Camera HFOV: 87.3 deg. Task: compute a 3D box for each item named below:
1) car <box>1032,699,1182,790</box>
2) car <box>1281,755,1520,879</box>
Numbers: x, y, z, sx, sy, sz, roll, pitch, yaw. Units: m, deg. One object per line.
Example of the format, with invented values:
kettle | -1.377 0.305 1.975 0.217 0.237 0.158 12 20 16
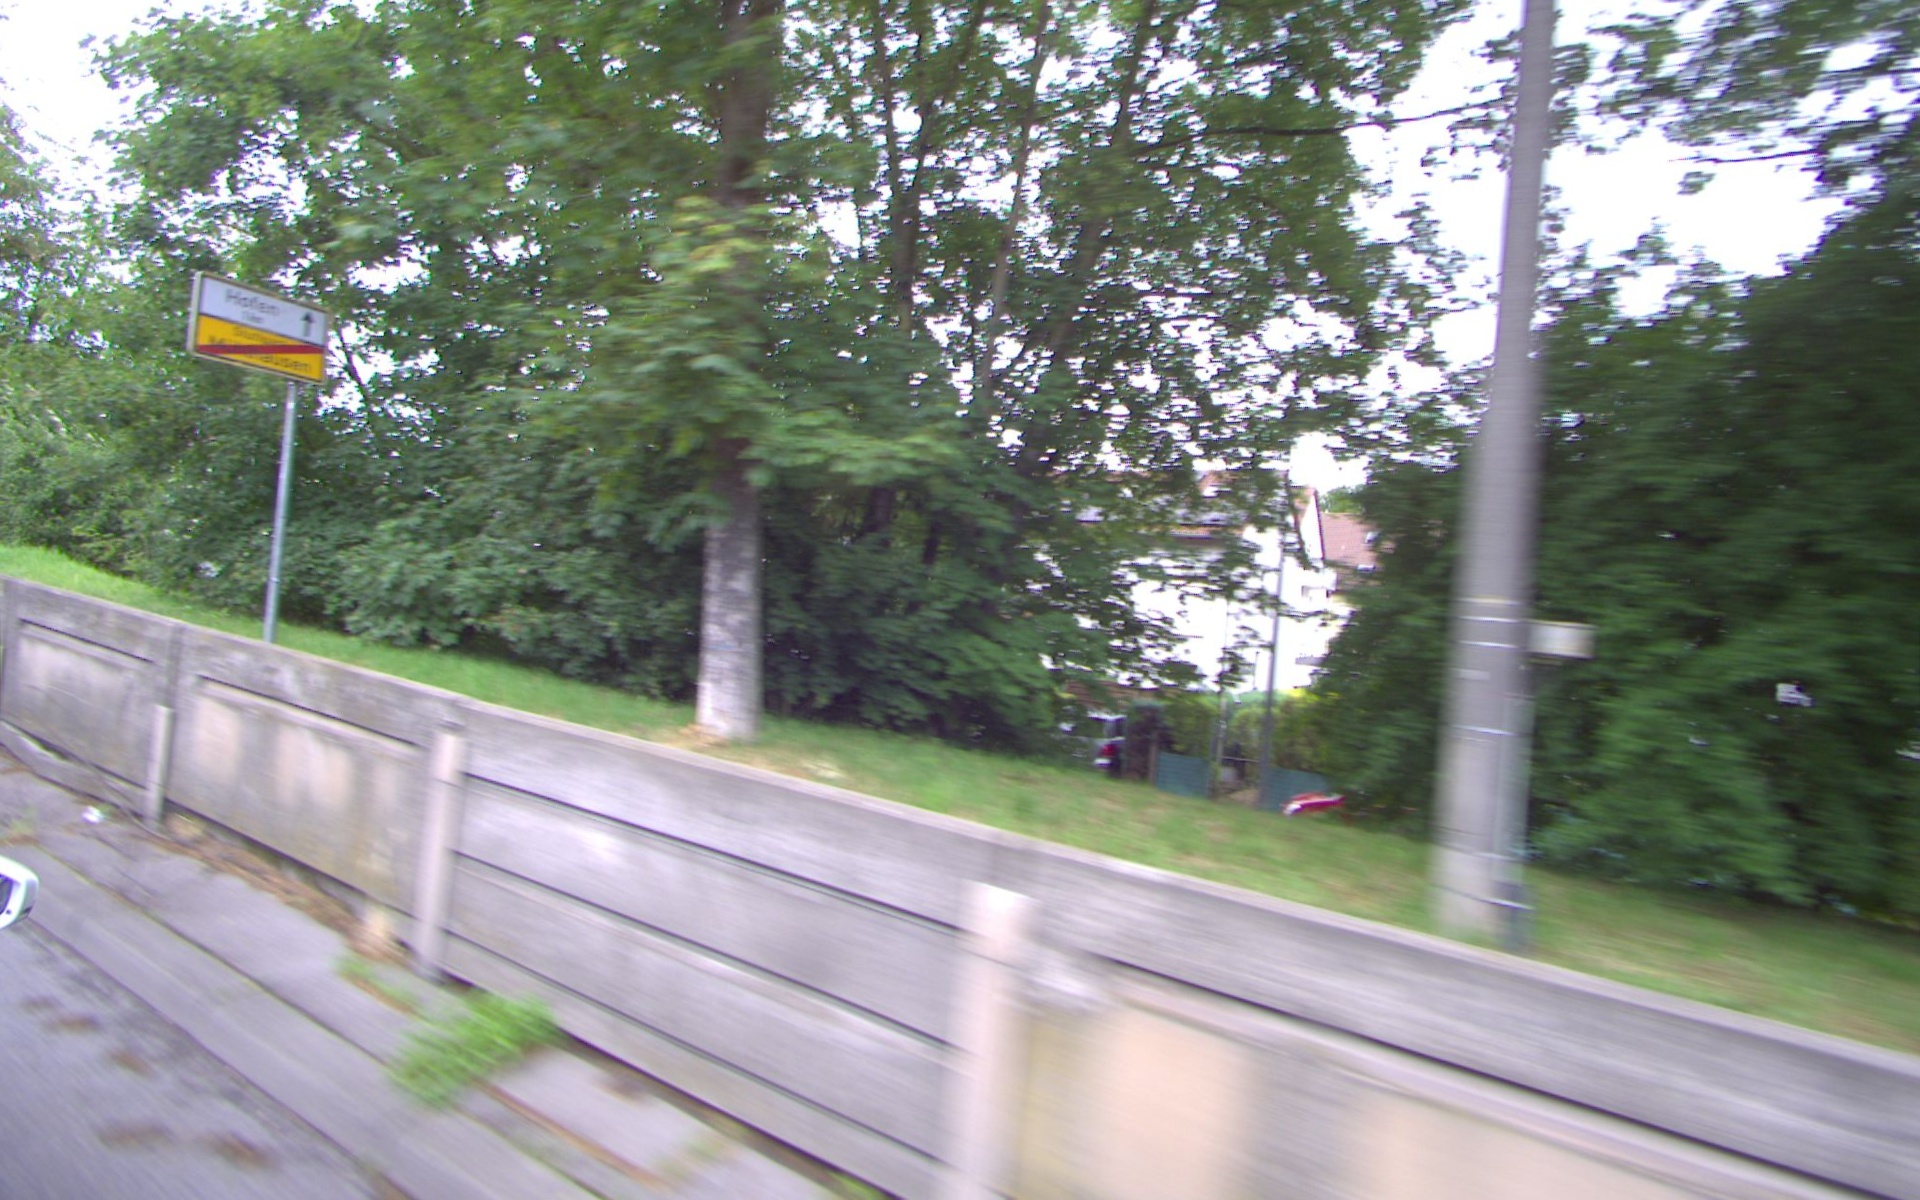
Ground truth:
car | 3.330 3.182 22.253 1.719 1.636 3.543 5 -4 36
car | 7.177 3.513 16.653 3.384 1.340 1.423 6 -3 21
